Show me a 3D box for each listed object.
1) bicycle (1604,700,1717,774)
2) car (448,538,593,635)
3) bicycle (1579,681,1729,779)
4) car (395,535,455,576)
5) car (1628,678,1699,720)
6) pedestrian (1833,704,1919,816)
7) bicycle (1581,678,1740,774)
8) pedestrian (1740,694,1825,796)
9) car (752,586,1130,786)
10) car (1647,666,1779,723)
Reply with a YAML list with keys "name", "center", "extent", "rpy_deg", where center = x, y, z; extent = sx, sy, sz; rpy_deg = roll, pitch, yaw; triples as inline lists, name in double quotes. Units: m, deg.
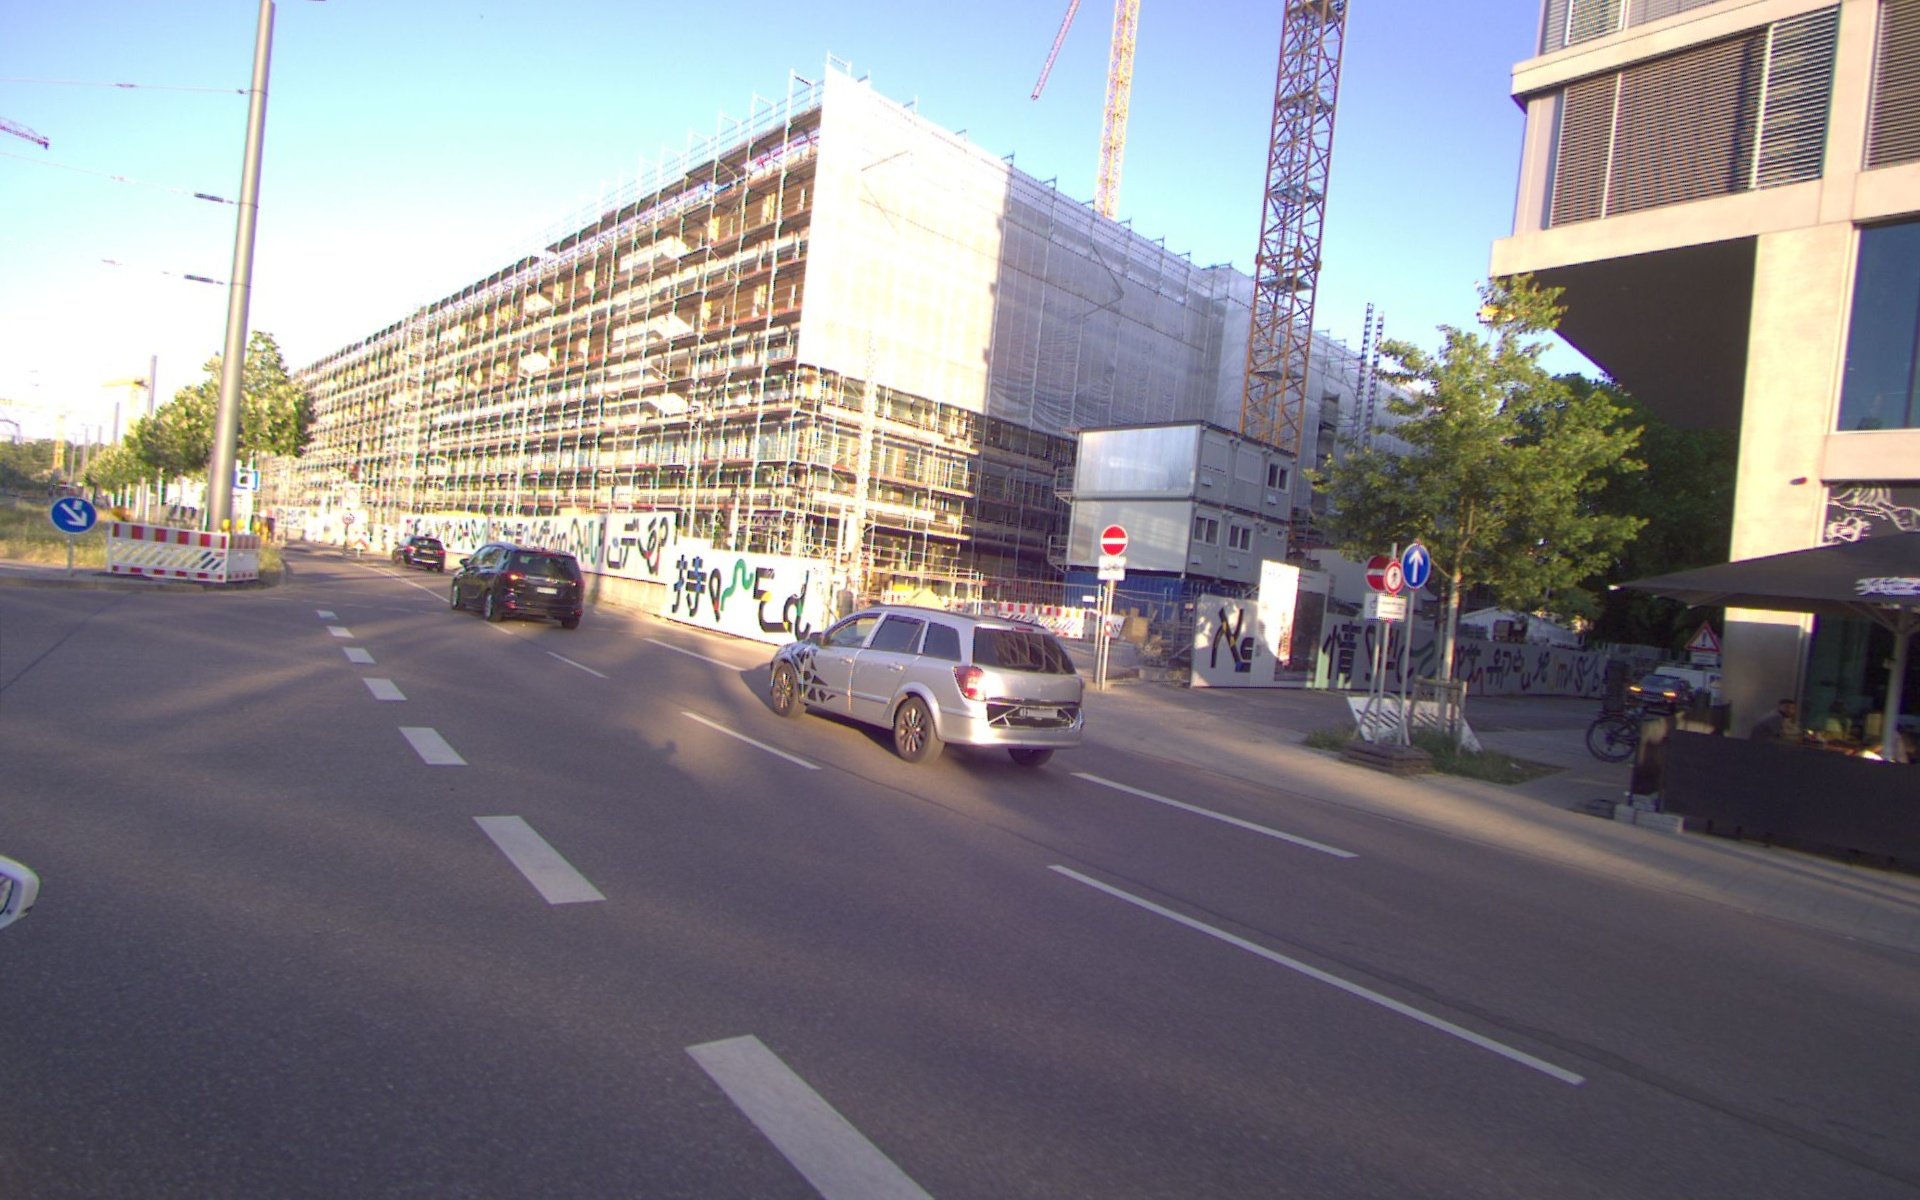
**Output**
- name: "bicycle"
  center: [11.026, 2.148, 15.866]
  extent: [0.409, 0.940, 1.328]
  rpy_deg: [8, -1, -41]
- name: "car"
  center: [-9.593, -0.340, 21.747]
  extent: [1.814, 1.618, 4.322]
  rpy_deg: [8, 0, -37]
- name: "bicycle"
  center: [10.656, 1.977, 15.499]
  extent: [0.584, 1.225, 1.726]
  rpy_deg: [7, -1, -41]
- name: "car"
  center: [-25.188, -2.142, 47.264]
  extent: [1.810, 1.537, 4.745]
  rpy_deg: [8, 0, -35]
- name: "car"
  center: [28.273, 3.965, 40.378]
  extent: [1.647, 1.370, 3.976]
  rpy_deg: [8, 1, 44]
- name: "pedestrian"
  center: [12.385, 2.122, 13.490]
  extent: [0.739, 1.337, 0.708]
  rpy_deg: [2, 4, -30]
- name: "bicycle"
  center: [11.305, 2.020, 16.299]
  extent: [0.540, 1.225, 1.933]
  rpy_deg: [8, -1, -41]
- name: "pedestrian"
  center: [11.648, 2.042, 14.257]
  extent: [0.606, 1.337, 0.616]
  rpy_deg: [3, 4, -25]
- name: "car"
  center: [-0.416, 0.837, 11.040]
  extent: [1.820, 1.481, 4.257]
  rpy_deg: [8, -1, -38]
- name: "car"
  center: [36.522, 4.548, 48.957]
  extent: [1.649, 2.013, 4.750]
  rpy_deg: [5, 1, -27]
